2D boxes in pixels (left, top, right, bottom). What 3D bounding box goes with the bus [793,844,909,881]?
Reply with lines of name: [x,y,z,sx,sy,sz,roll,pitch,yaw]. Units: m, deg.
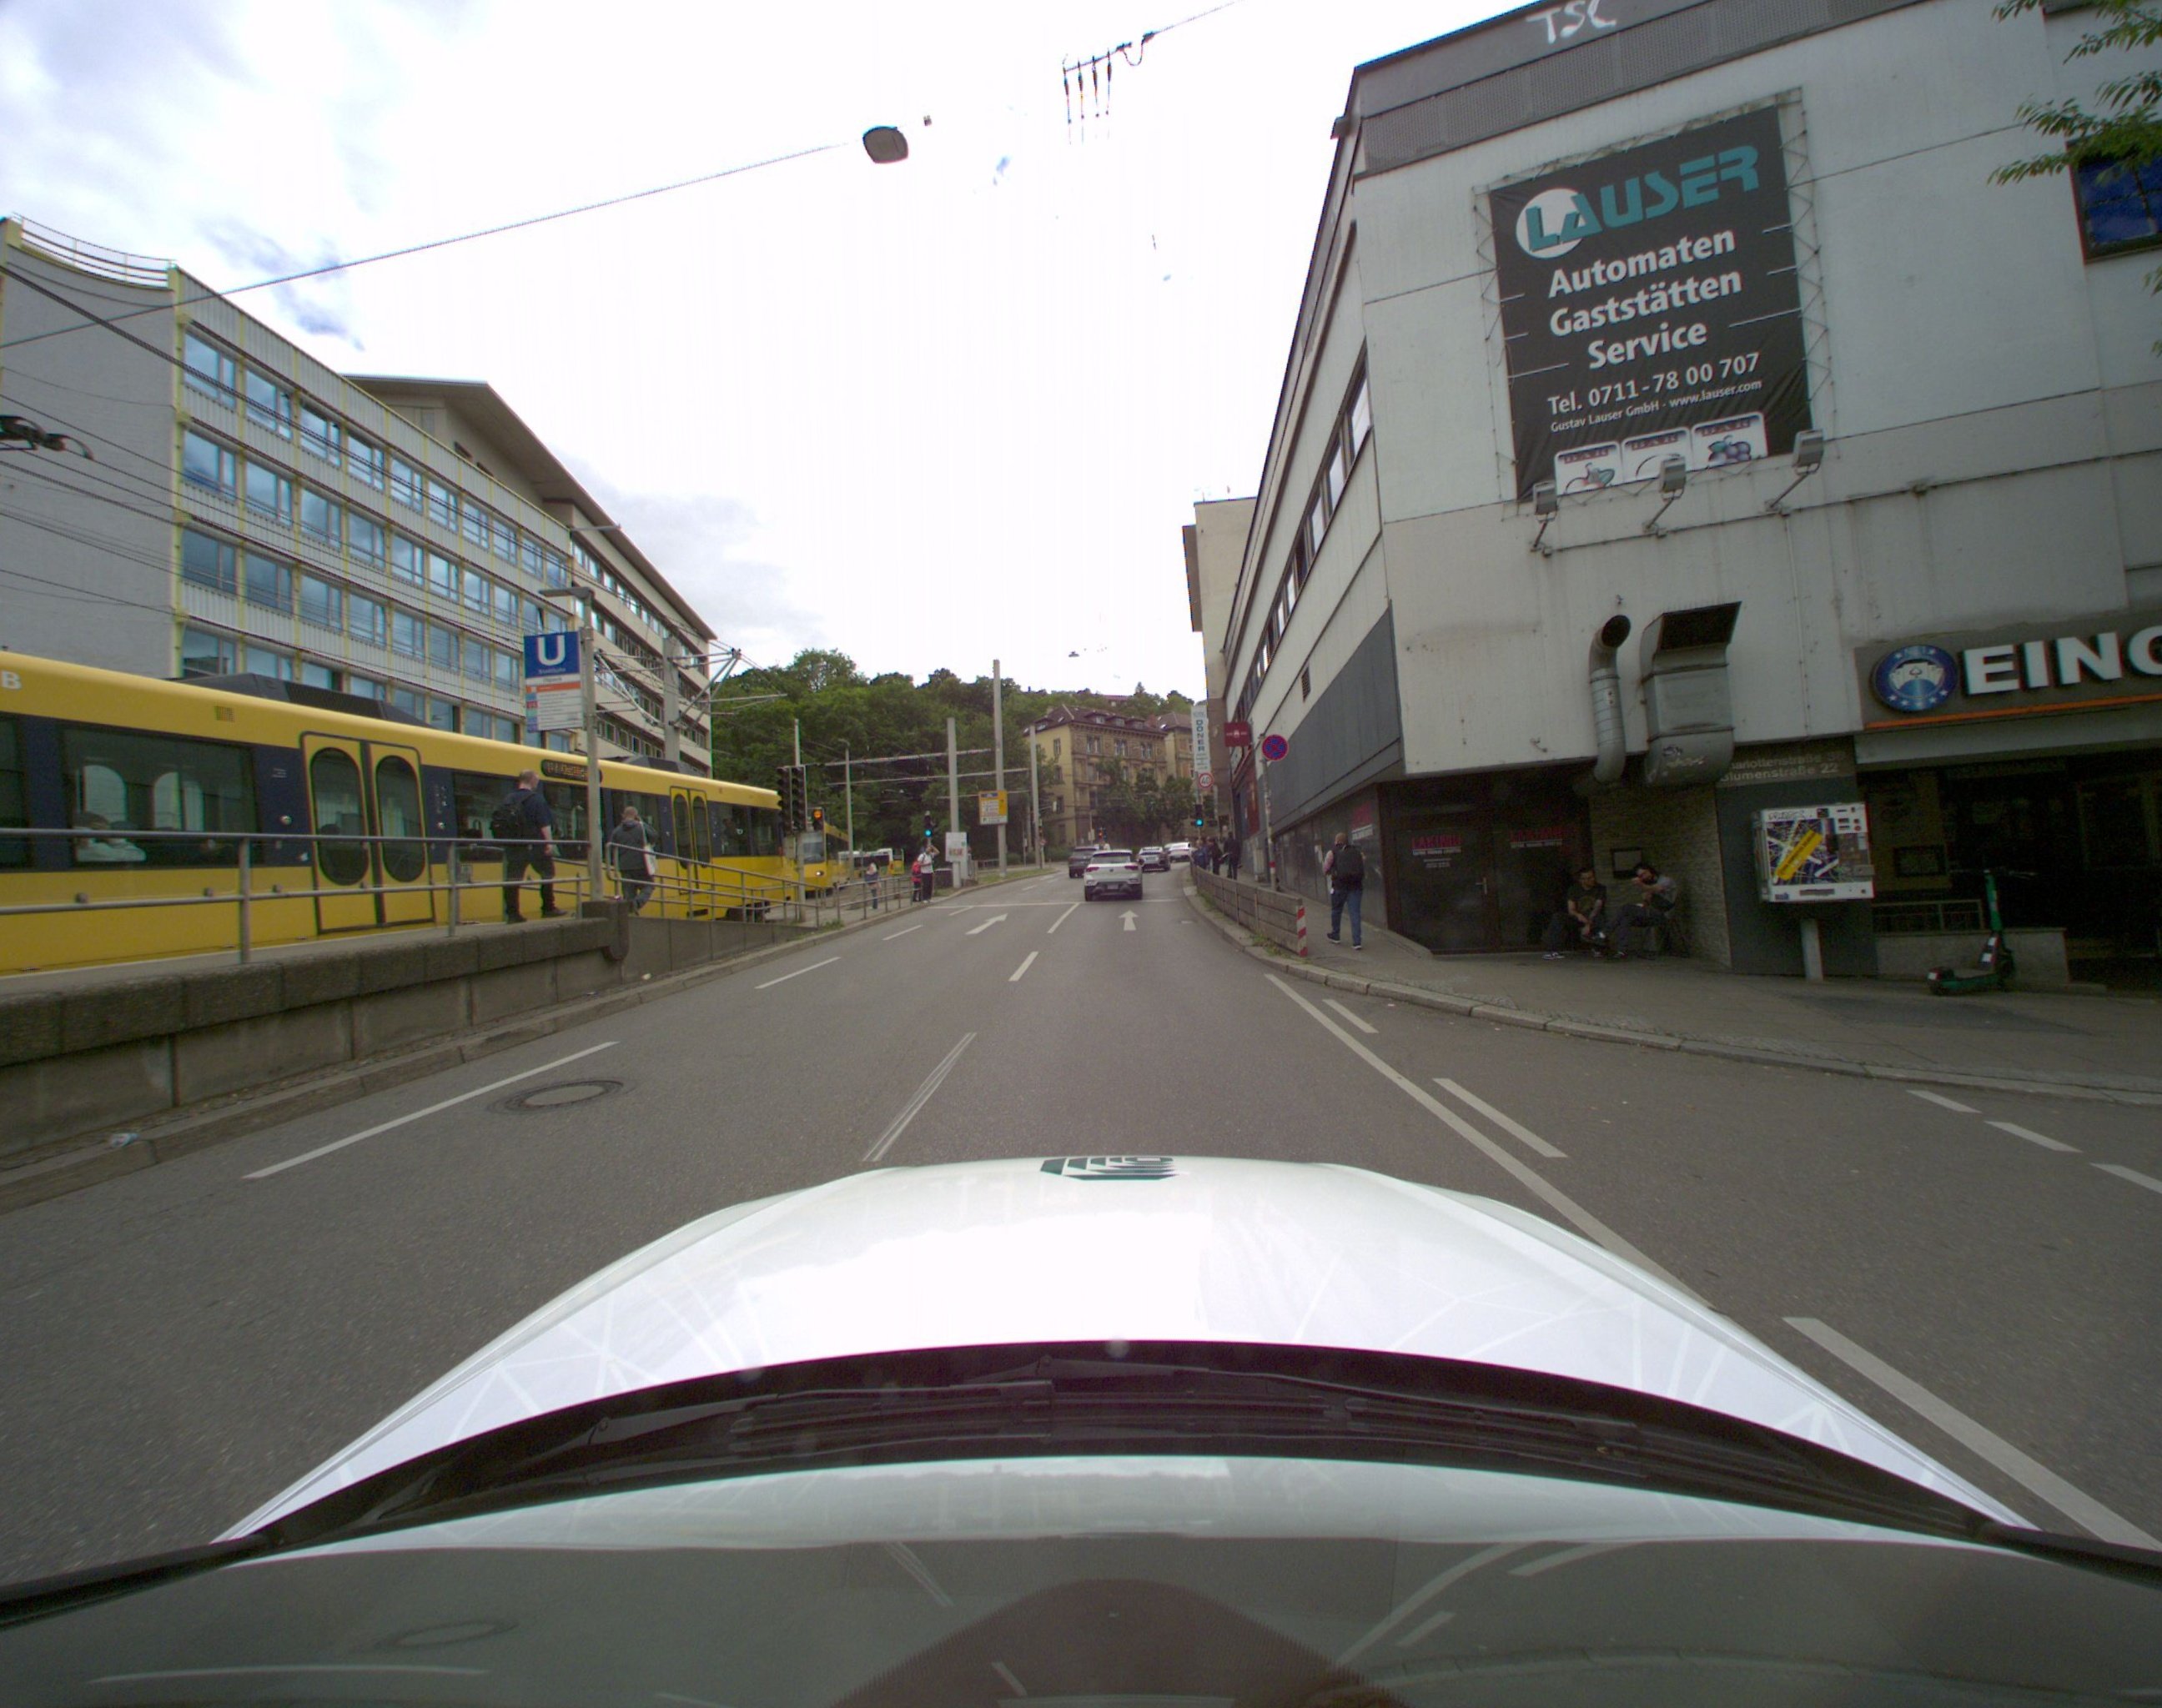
bus: [-24.091,0.886,85.438,11.424,3.029,3.405,-4,0,15]

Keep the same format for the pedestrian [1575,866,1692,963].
pedestrian: [7.190,0.778,10.655,1.097,1.188,0.746,-2,0,20]

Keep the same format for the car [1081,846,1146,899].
car: [1.047,0.536,26.203,1.930,1.566,4.049,0,0,2]

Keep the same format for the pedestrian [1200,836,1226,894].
pedestrian: [4.180,0.354,25.806,0.734,1.793,0.656,-2,0,6]

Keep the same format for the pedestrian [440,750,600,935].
pedestrian: [-6.487,-0.103,9.493,0.926,1.970,1.234,-4,-3,2]

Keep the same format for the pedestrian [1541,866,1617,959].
pedestrian: [6.963,0.806,11.419,0.728,1.236,0.721,-2,0,19]

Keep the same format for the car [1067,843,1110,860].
car: [0.894,-0.262,94.550,1.974,1.850,5.023,-4,-3,43]

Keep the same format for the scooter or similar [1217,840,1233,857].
scooter or similar: [10.640,-0.428,60.115,1.012,1.182,0.374,-4,0,-22]

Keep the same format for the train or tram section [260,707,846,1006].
train or tram section: [-9.028,-0.142,17.953,2.871,3.663,14.480,-6,1,1]

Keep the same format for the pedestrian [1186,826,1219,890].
pedestrian: [4.066,0.129,27.268,0.942,2.062,0.780,-3,0,6]

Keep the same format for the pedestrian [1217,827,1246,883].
pedestrian: [5.143,0.042,27.838,0.723,1.808,0.655,-7,0,6]

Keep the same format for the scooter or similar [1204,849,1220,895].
scooter or similar: [3.756,0.515,23.370,0.352,1.276,0.815,-2,0,5]

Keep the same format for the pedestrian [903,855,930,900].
pedestrian: [-5.643,0.804,27.930,0.571,1.464,0.679,-5,-4,21]

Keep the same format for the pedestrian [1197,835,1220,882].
pedestrian: [4.640,0.157,29.650,0.559,1.651,0.592,-9,0,5]

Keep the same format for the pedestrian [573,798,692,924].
pedestrian: [-6.493,0.135,11.854,1.112,1.680,1.041,-4,-5,2]

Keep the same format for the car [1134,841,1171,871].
car: [4.126,0.098,46.478,1.893,1.574,3.842,-2,0,7]

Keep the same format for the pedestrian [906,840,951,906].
pedestrian: [-5.061,0.644,27.027,0.957,2.067,1.037,-5,-4,21]

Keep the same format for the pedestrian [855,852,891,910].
pedestrian: [-6.145,0.788,24.078,0.673,1.625,1.001,-4,0,1]

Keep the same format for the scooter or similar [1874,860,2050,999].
scooter or similar: [9.023,0.747,8.357,1.387,1.349,0.595,1,-1,-11]

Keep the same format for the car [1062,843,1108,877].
car: [0.277,0.287,44.255,1.828,1.739,4.010,-2,0,9]

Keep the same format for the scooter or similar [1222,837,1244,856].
scooter or similar: [11.491,-0.579,61.490,1.447,1.254,0.553,-5,1,-22]

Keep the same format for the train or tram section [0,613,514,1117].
train or tram section: [-9.308,0.239,3.724,2.871,3.663,14.234,-6,1,1]

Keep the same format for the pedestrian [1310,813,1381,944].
pedestrian: [3.783,0.341,11.710,0.717,1.785,0.884,-2,0,2]

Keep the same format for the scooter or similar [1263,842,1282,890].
scooter or similar: [5.396,0.329,22.925,0.424,1.276,0.984,-3,0,16]

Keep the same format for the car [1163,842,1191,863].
car: [7.512,-0.153,64.046,1.929,1.506,3.811,-3,0,4]
